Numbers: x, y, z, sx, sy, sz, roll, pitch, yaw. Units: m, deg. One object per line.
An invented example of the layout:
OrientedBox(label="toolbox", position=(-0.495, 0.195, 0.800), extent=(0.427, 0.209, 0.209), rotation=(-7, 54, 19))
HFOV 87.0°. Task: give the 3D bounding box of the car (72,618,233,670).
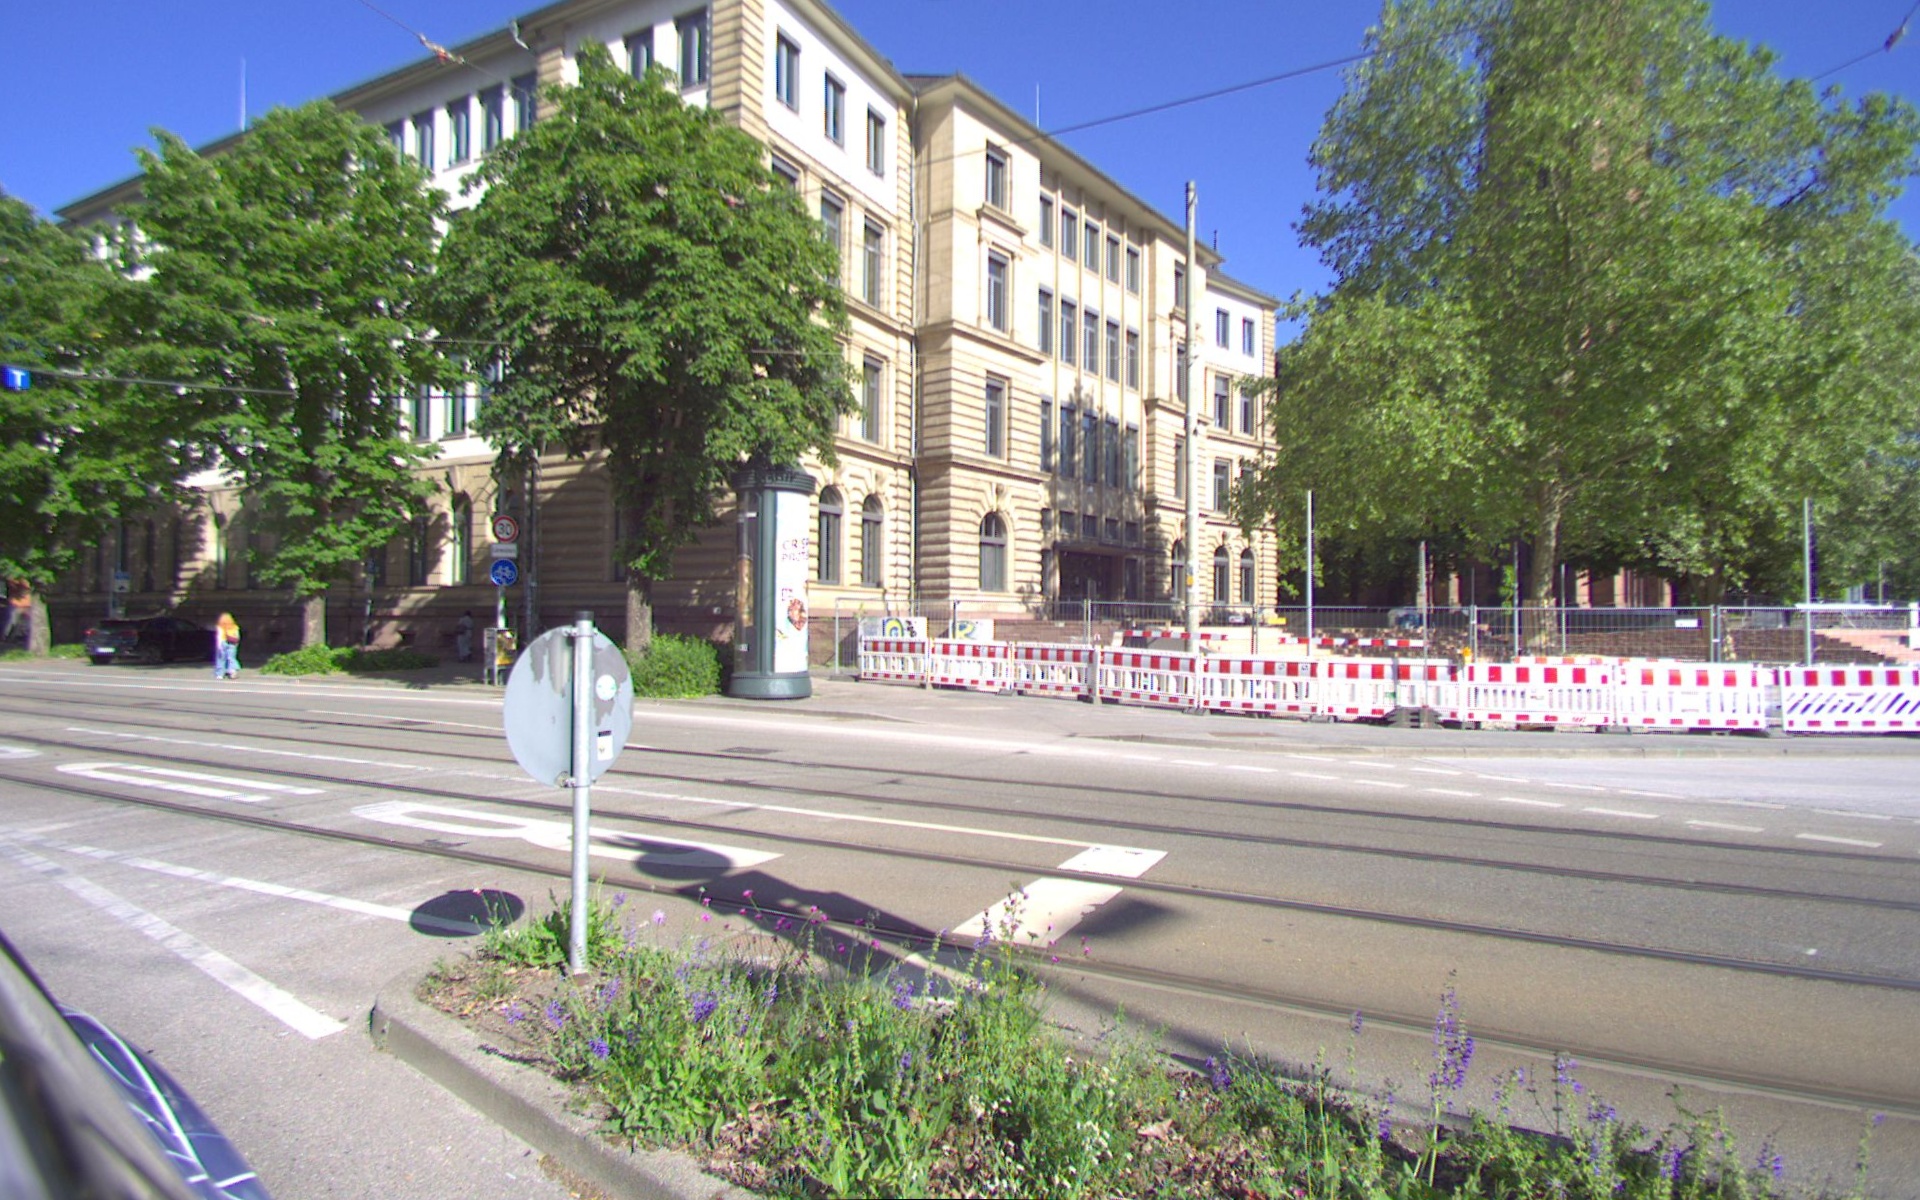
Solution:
OrientedBox(label="car", position=(-26.040, 1.396, 32.829), extent=(1.895, 1.586, 4.108), rotation=(0, -2, 1))

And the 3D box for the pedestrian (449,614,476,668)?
OrientedBox(label="pedestrian", position=(-15.297, 1.237, 31.126), extent=(0.661, 1.578, 0.861), rotation=(-2, 2, -28))

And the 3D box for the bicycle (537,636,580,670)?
OrientedBox(label="bicycle", position=(-11.482, 1.504, 28.957), extent=(1.356, 0.910, 0.394), rotation=(0, 0, 31))

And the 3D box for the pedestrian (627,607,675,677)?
OrientedBox(label="pedestrian", position=(-7.674, 1.026, 25.134), extent=(0.839, 1.682, 0.725), rotation=(2, 0, 18))

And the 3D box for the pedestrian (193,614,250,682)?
OrientedBox(label="pedestrian", position=(-18.941, 1.245, 25.962), extent=(1.028, 1.682, 0.765), rotation=(-5, -6, 26))

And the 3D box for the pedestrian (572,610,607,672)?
OrientedBox(label="pedestrian", position=(-9.606, 1.057, 26.245), extent=(0.651, 1.574, 0.573), rotation=(-1, -2, 29))
